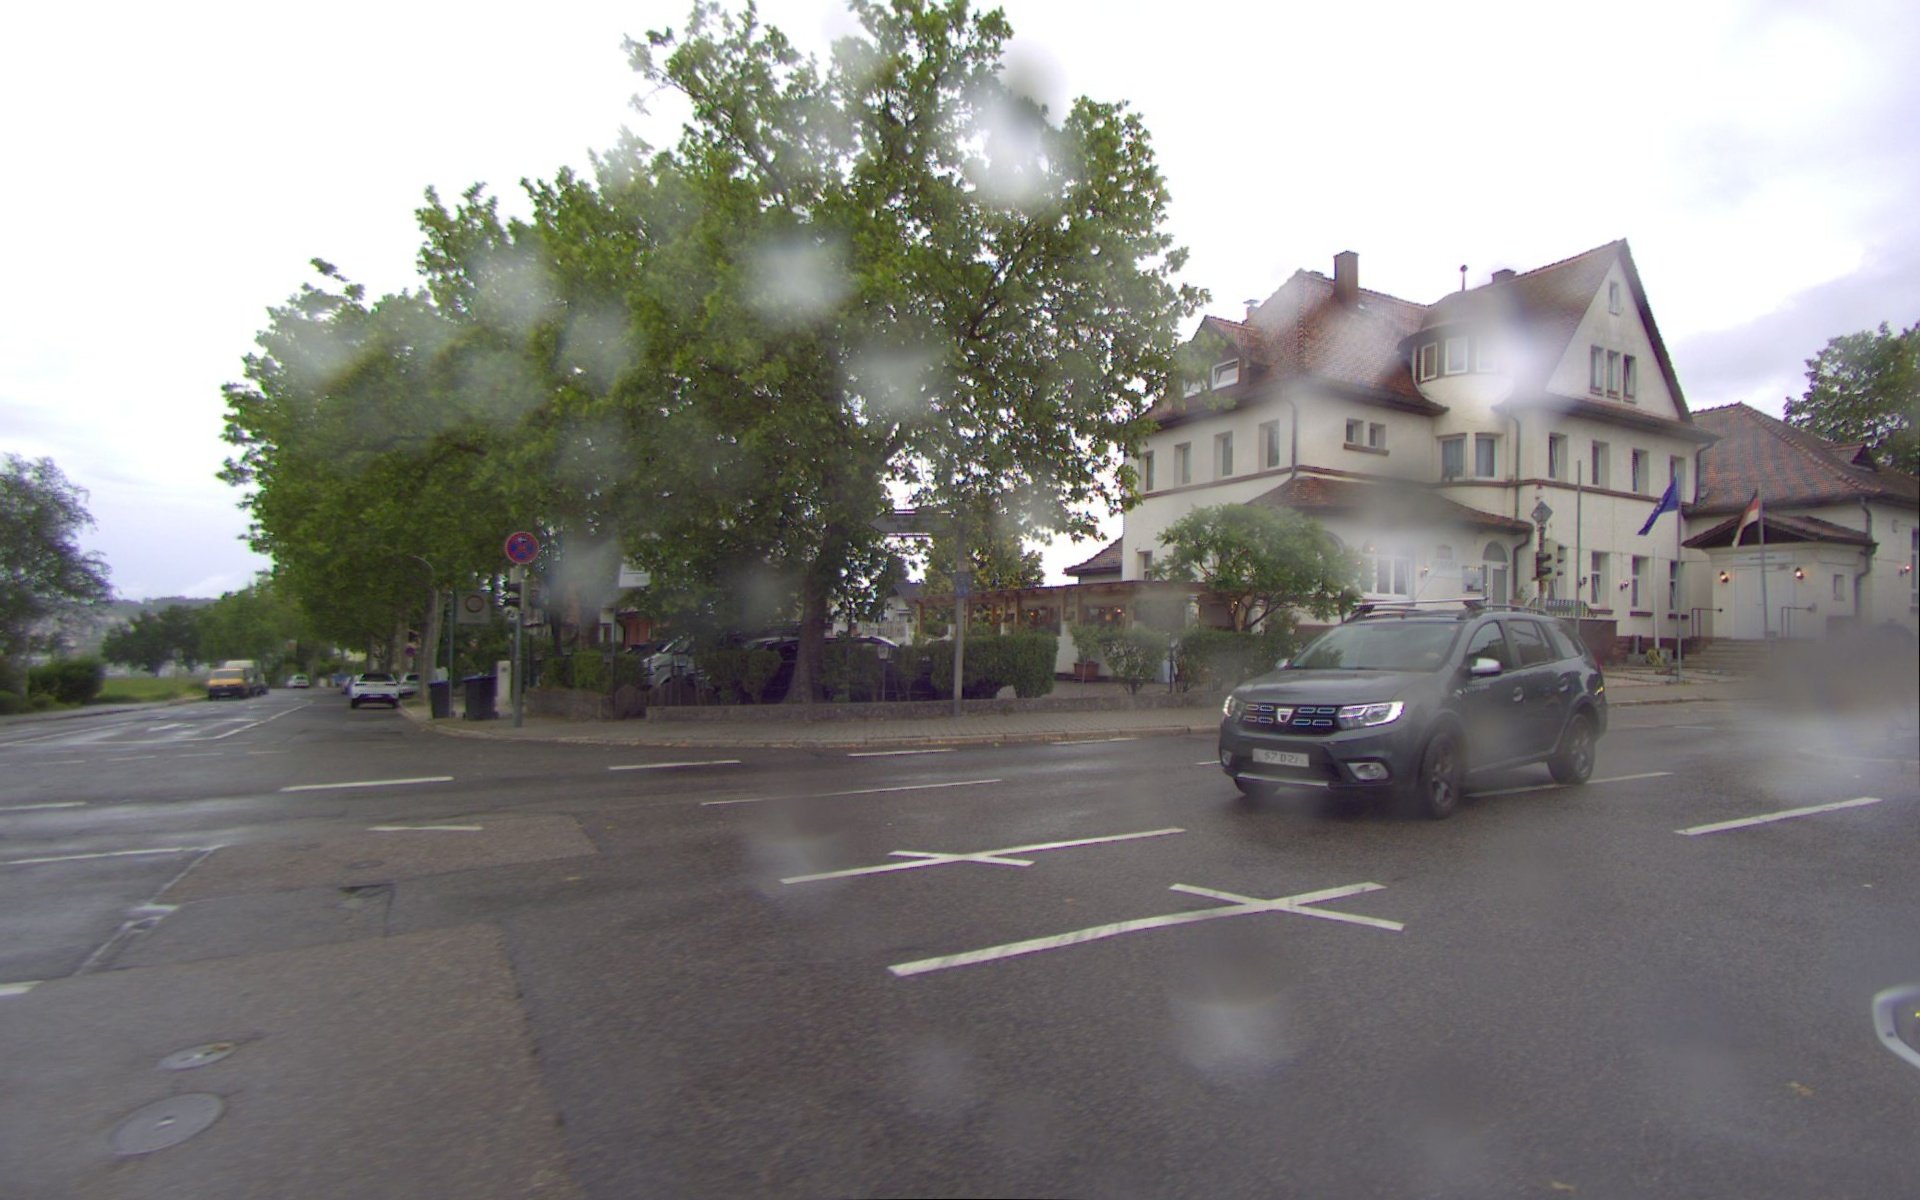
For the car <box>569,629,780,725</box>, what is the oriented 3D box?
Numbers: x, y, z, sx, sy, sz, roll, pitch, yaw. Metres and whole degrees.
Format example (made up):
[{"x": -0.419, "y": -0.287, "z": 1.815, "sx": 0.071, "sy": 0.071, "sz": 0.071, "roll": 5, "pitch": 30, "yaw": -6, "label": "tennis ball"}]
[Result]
[{"x": -6.042, "y": 1.558, "z": 21.332, "sx": 3.951, "sy": 1.573, "sz": 1.800, "roll": -3, "pitch": 2, "yaw": -29, "label": "car"}]

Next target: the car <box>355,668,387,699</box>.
[{"x": -37.818, "y": 5.329, "z": 64.563, "sx": 1.690, "sy": 1.651, "sz": 3.655, "roll": 1, "pitch": 0, "yaw": -29, "label": "car"}]

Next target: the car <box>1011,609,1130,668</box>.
[{"x": 4.075, "y": 1.390, "z": 36.976, "sx": 3.955, "sy": 2.040, "sz": 1.983, "roll": 1, "pitch": 0, "yaw": -31, "label": "car"}]

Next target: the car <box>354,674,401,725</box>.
[{"x": -25.384, "y": 4.291, "z": 43.822, "sx": 1.690, "sy": 1.833, "sz": 3.655, "roll": 1, "pitch": 0, "yaw": -29, "label": "car"}]

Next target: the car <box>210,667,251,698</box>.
[{"x": -46.710, "y": 5.227, "z": 64.369, "sx": 1.690, "sy": 1.651, "sz": 3.655, "roll": 1, "pitch": 0, "yaw": -29, "label": "car"}]

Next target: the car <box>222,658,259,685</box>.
[{"x": -51.797, "y": 5.110, "z": 72.360, "sx": 1.690, "sy": 1.651, "sz": 3.655, "roll": 1, "pitch": 0, "yaw": -29, "label": "car"}]

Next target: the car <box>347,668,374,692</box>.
[{"x": -44.987, "y": 5.980, "z": 75.409, "sx": 1.640, "sy": 1.436, "sz": 3.655, "roll": 1, "pitch": 0, "yaw": -29, "label": "car"}]

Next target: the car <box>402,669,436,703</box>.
[{"x": -32.547, "y": 5.144, "z": 60.386, "sx": 1.690, "sy": 1.651, "sz": 3.655, "roll": 1, "pitch": 0, "yaw": -29, "label": "car"}]

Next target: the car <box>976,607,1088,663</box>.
[{"x": 2.811, "y": 1.332, "z": 39.205, "sx": 3.955, "sy": 2.040, "sz": 1.983, "roll": 1, "pitch": 0, "yaw": -31, "label": "car"}]

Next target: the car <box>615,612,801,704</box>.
[{"x": -6.022, "y": 1.313, "z": 24.069, "sx": 3.951, "sy": 1.786, "sz": 1.800, "roll": -3, "pitch": 2, "yaw": -29, "label": "car"}]

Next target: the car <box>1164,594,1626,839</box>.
[{"x": 3.945, "y": 0.790, "z": 8.746, "sx": 4.465, "sy": 1.598, "sz": 1.883, "roll": 0, "pitch": -1, "yaw": -40, "label": "car"}]

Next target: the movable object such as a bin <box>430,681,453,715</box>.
[{"x": -14.608, "y": 2.758, "z": 28.296, "sx": 0.446, "sy": 0.918, "sz": 0.450, "roll": 1, "pitch": 0, "yaw": -12, "label": "movable object such as a bin"}]

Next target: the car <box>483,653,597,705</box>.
[{"x": -14.289, "y": 2.652, "z": 34.177, "sx": 3.454, "sy": 1.575, "sz": 1.800, "roll": 1, "pitch": 0, "yaw": -28, "label": "car"}]

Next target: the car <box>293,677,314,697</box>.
[{"x": -81.449, "y": 10.776, "z": 124.640, "sx": 1.978, "sy": 2.040, "sz": 3.964, "roll": 1, "pitch": 0, "yaw": -32, "label": "car"}]

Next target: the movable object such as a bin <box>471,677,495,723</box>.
[{"x": -11.540, "y": 2.415, "z": 24.302, "sx": 0.404, "sy": 1.057, "sz": 0.450, "roll": 1, "pitch": 0, "yaw": -12, "label": "movable object such as a bin"}]
